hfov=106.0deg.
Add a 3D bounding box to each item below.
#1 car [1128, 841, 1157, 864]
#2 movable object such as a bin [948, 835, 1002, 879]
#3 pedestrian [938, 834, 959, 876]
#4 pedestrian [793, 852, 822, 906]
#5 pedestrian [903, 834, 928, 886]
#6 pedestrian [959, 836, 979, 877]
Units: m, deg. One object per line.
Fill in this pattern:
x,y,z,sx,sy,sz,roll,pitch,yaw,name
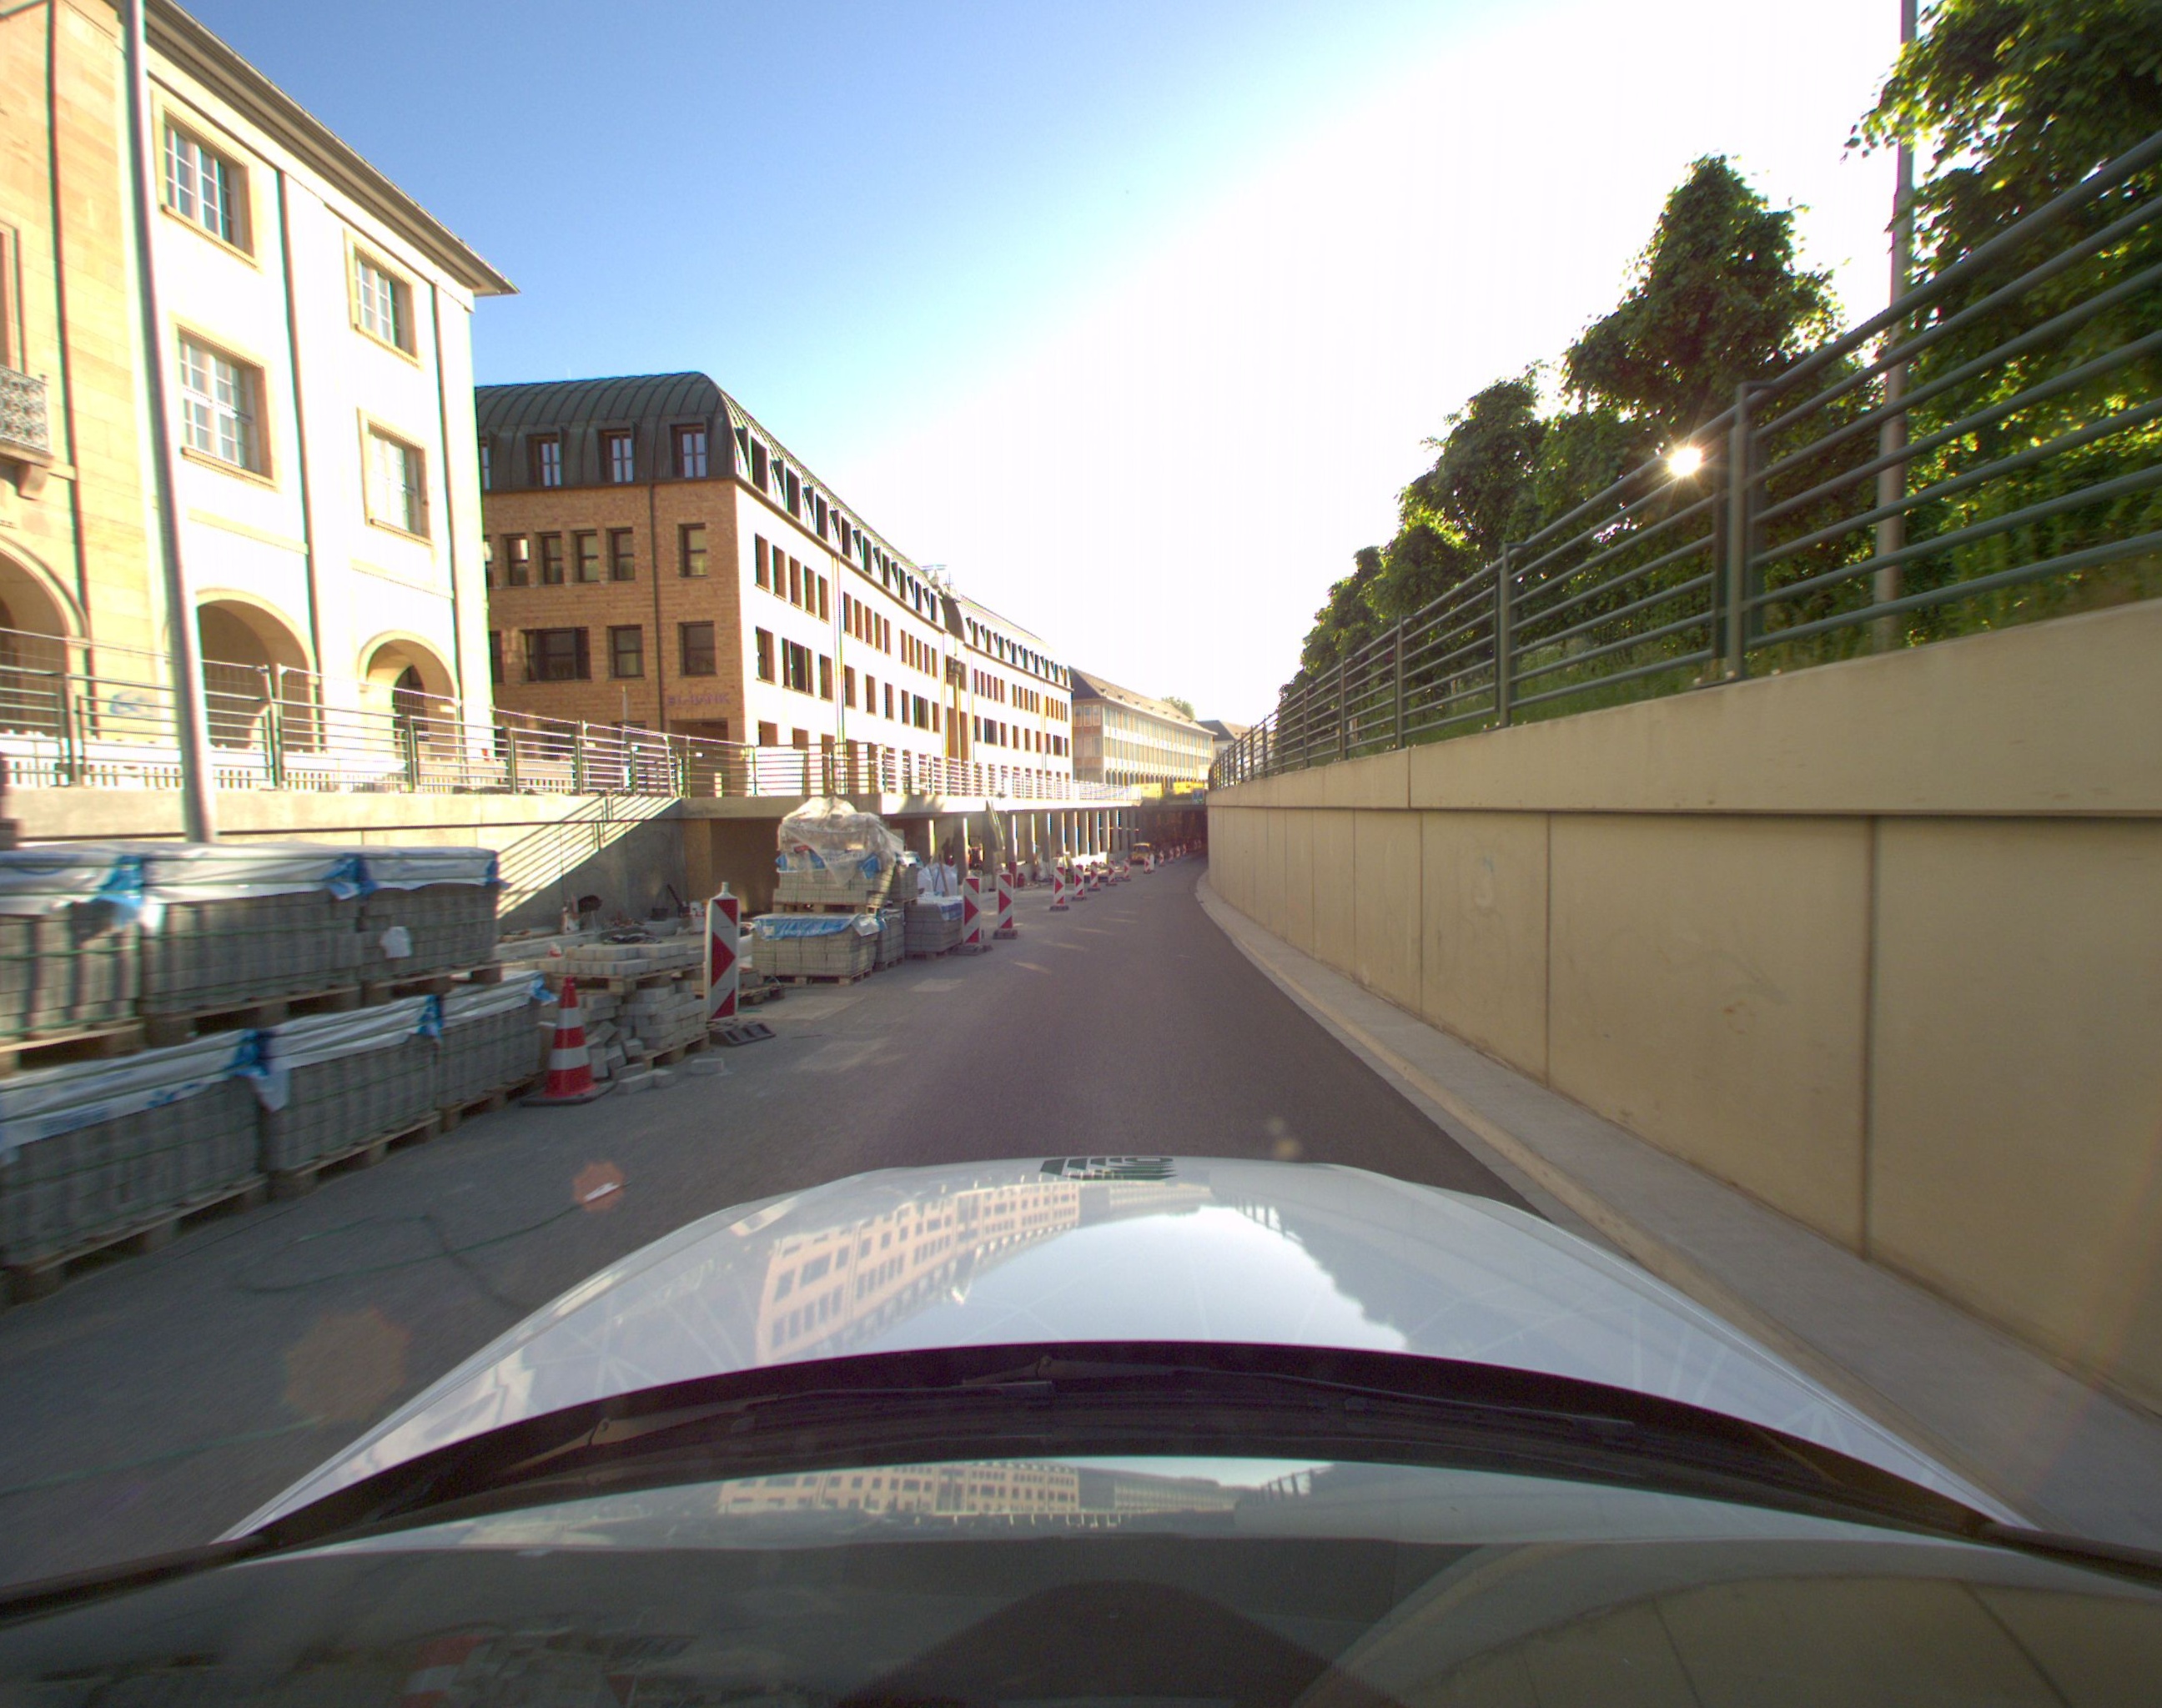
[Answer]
5.301,-0.162,69.938,1.835,1.775,4.451,0,3,13,car
-5.010,0.106,38.749,1.876,1.987,3.164,0,1,5,movable object such as a bin
-5.859,0.041,36.028,0.701,1.814,0.711,1,0,5,pedestrian
-8.202,0.750,24.465,0.647,1.579,0.630,-1,0,-2,pedestrian
-6.415,0.222,31.599,0.673,1.957,0.938,1,0,7,pedestrian
-5.041,0.106,36.682,0.652,1.805,0.627,0,0,15,pedestrian
